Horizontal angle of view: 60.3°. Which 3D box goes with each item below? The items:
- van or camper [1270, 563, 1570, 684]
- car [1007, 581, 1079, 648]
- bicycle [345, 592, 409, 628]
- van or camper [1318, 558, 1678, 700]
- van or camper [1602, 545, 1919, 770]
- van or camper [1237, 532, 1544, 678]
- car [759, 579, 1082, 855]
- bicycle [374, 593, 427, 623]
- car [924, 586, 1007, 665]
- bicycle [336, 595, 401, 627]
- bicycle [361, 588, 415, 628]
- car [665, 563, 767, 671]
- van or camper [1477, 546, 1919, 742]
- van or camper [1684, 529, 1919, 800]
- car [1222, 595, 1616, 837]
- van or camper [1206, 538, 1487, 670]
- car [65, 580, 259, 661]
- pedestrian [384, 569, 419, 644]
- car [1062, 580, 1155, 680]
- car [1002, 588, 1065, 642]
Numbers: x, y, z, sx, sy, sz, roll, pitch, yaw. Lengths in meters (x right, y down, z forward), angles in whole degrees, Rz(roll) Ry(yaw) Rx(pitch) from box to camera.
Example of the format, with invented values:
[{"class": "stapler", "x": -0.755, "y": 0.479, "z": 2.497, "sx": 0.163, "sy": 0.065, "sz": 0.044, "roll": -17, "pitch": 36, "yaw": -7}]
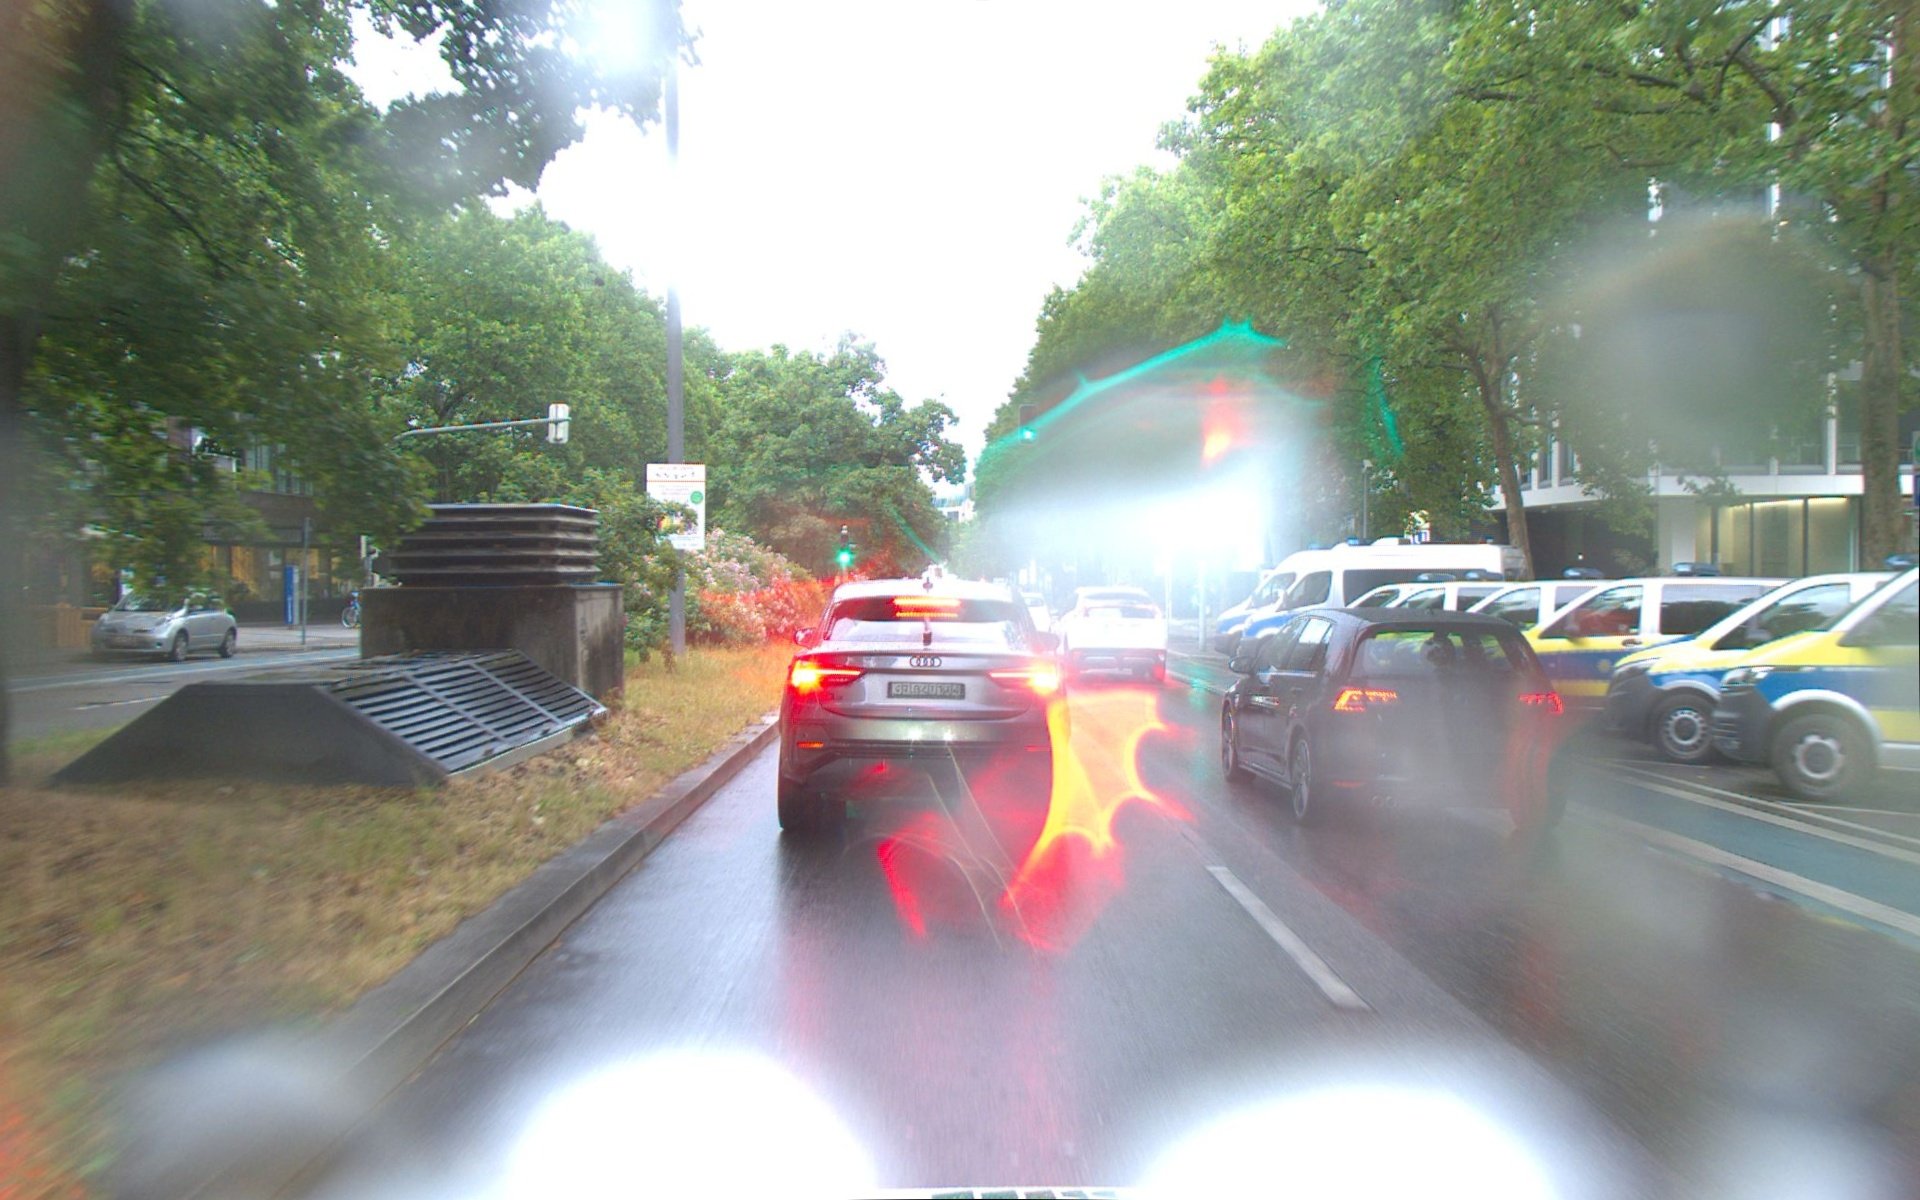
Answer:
[{"class": "van or camper", "x": 8.350, "y": 0.416, "z": 30.182, "sx": 4.915, "sy": 2.049, "sz": 1.993, "roll": 0, "pitch": -1, "yaw": 35}, {"class": "car", "x": 2.290, "y": 0.368, "z": 46.236, "sx": 1.785, "sy": 1.780, "sz": 4.000, "roll": 0, "pitch": 1, "yaw": 0}, {"class": "bicycle", "x": -18.451, "y": 0.310, "z": 52.341, "sx": 1.810, "sy": 1.117, "sz": 0.613, "roll": 0, "pitch": 0, "yaw": -9}, {"class": "van or camper", "x": 8.530, "y": 0.407, "z": 26.427, "sx": 5.102, "sy": 2.027, "sz": 1.994, "roll": 1, "pitch": 0, "yaw": 34}, {"class": "van or camper", "x": 8.931, "y": 0.514, "z": 15.859, "sx": 4.917, "sy": 2.030, "sz": 1.995, "roll": 0, "pitch": 0, "yaw": 32}, {"class": "van or camper", "x": 8.599, "y": 0.078, "z": 33.324, "sx": 5.693, "sy": 2.727, "sz": 1.993, "roll": 0, "pitch": 0, "yaw": 35}, {"class": "car", "x": -0.200, "y": 0.644, "z": 11.667, "sx": 1.825, "sy": 1.559, "sz": 4.527, "roll": 0, "pitch": 1, "yaw": 1}, {"class": "bicycle", "x": -18.420, "y": 0.271, "z": 54.498, "sx": 1.587, "sy": 0.979, "sz": 0.508, "roll": 0, "pitch": 0, "yaw": -8}, {"class": "car", "x": 0.087, "y": 0.513, "z": 35.725, "sx": 1.686, "sy": 1.605, "sz": 3.961, "roll": 0, "pitch": 1, "yaw": -1}, {"class": "bicycle", "x": -18.398, "y": 0.344, "z": 51.436, "sx": 1.808, "sy": 0.996, "sz": 0.565, "roll": 0, "pitch": 0, "yaw": -4}, {"class": "bicycle", "x": -18.349, "y": 0.265, "z": 53.072, "sx": 1.587, "sy": 1.263, "sz": 0.508, "roll": 0, "pitch": 0, "yaw": -8}, {"class": "car", "x": -3.358, "y": 0.212, "z": 23.045, "sx": 1.029, "sy": 1.412, "sz": 2.694, "roll": 0, "pitch": 1, "yaw": 0}, {"class": "van or camper", "x": 8.956, "y": 0.437, "z": 19.618, "sx": 5.008, "sy": 2.060, "sz": 2.097, "roll": 1, "pitch": 0, "yaw": 37}, {"class": "van or camper", "x": 8.360, "y": 0.500, "z": 12.877, "sx": 4.698, "sy": 2.046, "sz": 1.993, "roll": 1, "pitch": 0, "yaw": 36}, {"class": "car", "x": 3.131, "y": 0.703, "z": 12.132, "sx": 1.729, "sy": 1.437, "sz": 3.999, "roll": 0, "pitch": 1, "yaw": -1}, {"class": "van or camper", "x": 8.485, "y": 0.059, "z": 36.651, "sx": 5.702, "sy": 2.724, "sz": 2.138, "roll": 1, "pitch": 0, "yaw": 37}, {"class": "car", "x": -16.283, "y": 0.371, "z": 34.024, "sx": 1.954, "sy": 1.535, "sz": 4.516, "roll": 0, "pitch": 1, "yaw": -3}, {"class": "pedestrian", "x": -14.428, "y": 0.166, "z": 42.707, "sx": 0.711, "sy": 1.899, "sz": 0.841, "roll": 0, "pitch": 0, "yaw": -9}, {"class": "car", "x": 2.645, "y": 0.504, "z": 29.917, "sx": 1.404, "sy": 1.714, "sz": 2.979, "roll": 0, "pitch": 1, "yaw": 0}, {"class": "car", "x": 2.501, "y": 0.490, "z": 57.137, "sx": 1.953, "sy": 1.780, "sz": 4.000, "roll": 0, "pitch": 1, "yaw": 0}]
